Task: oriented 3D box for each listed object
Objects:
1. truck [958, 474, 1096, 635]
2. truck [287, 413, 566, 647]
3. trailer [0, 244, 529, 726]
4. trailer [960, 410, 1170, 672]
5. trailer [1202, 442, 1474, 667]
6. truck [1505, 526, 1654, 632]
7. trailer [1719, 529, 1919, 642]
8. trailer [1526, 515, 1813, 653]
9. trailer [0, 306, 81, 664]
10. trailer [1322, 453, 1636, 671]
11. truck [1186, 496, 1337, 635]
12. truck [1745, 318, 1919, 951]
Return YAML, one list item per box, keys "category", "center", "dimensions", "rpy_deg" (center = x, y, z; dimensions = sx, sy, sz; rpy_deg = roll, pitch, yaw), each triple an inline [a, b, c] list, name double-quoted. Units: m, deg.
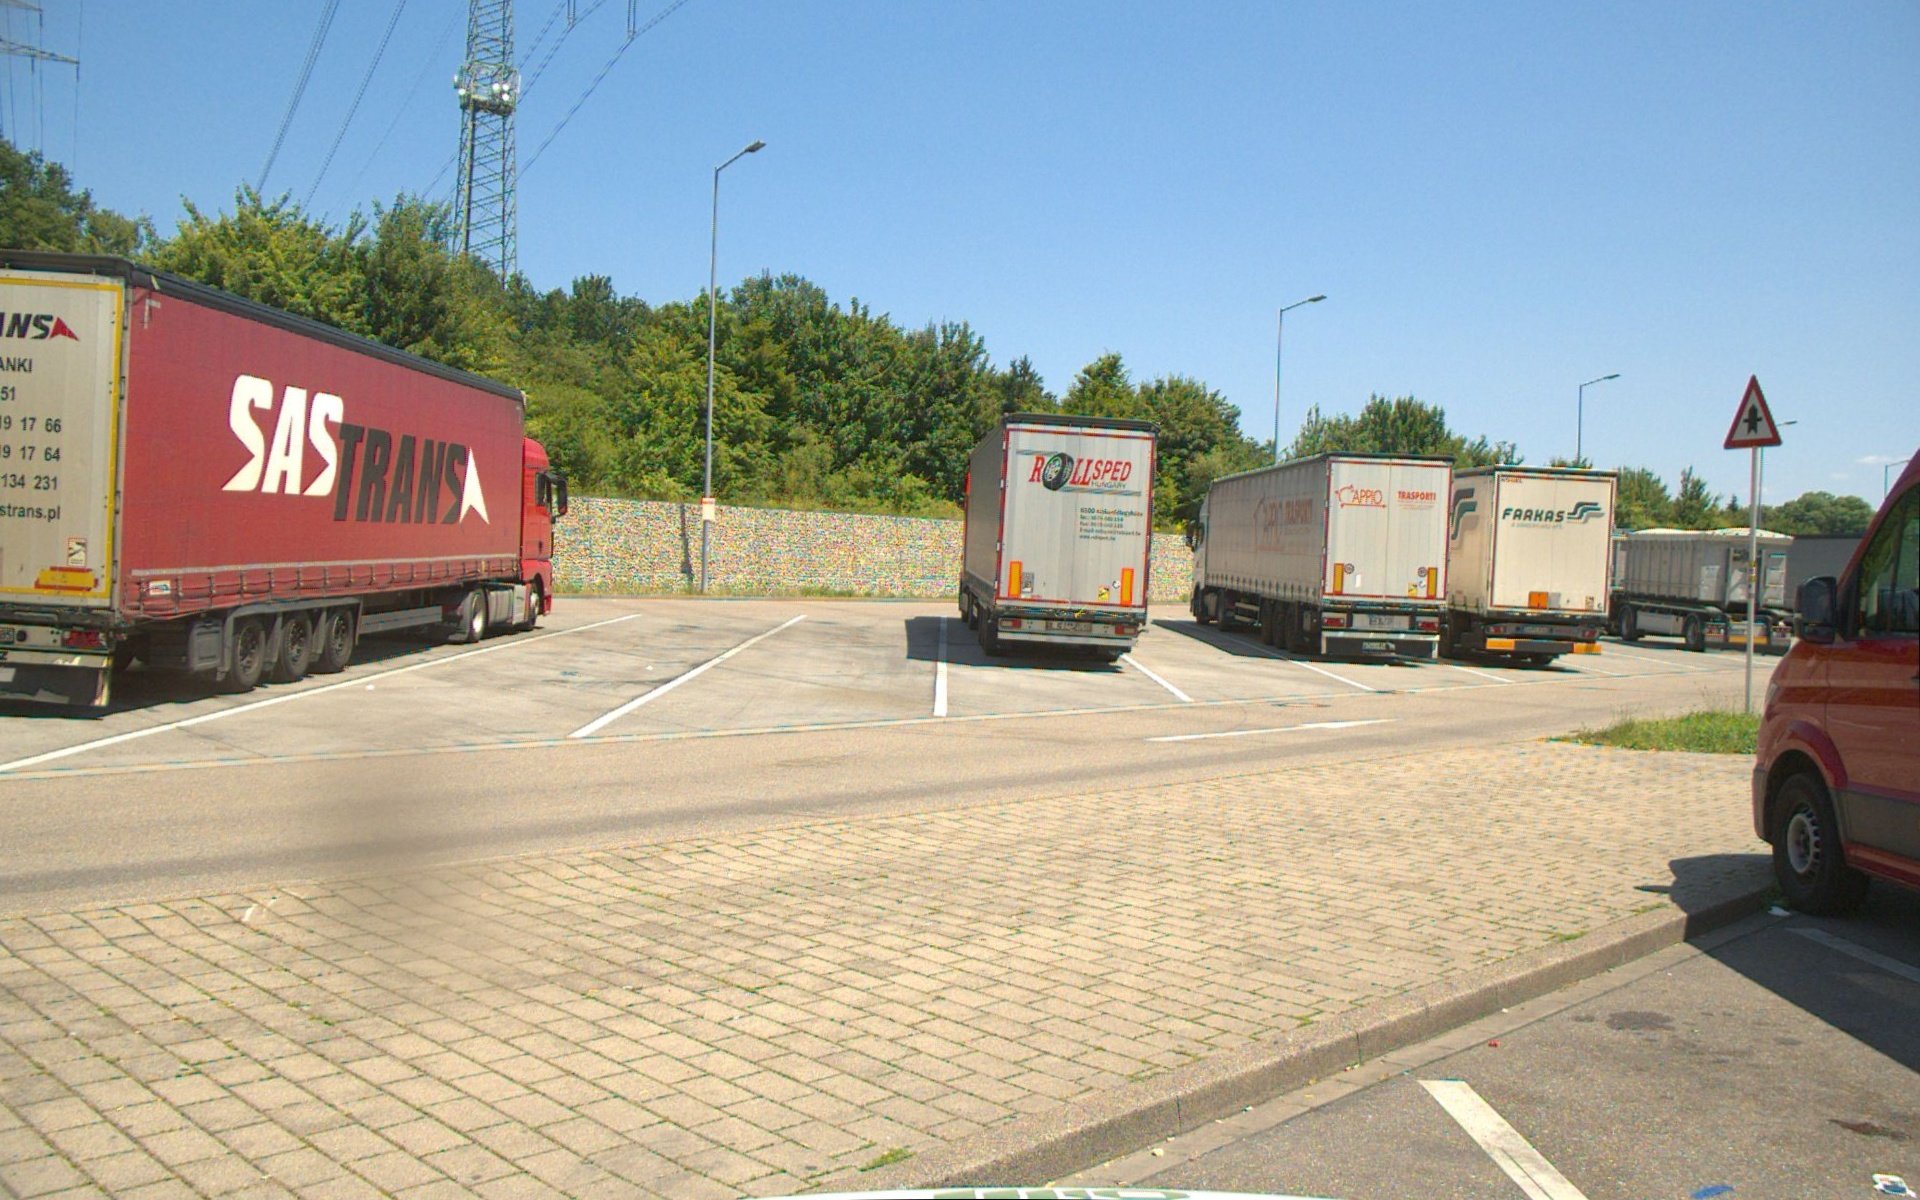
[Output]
- category: "truck"
  center: [1.466, -1.099, 39.353]
  dimensions: [2.808, 3.421, 5.974]
  rpy_deg: [2, 2, -1]
- category: "truck"
  center: [-8.808, -1.166, 28.074]
  dimensions: [2.755, 3.421, 5.974]
  rpy_deg: [2, 2, -1]
- category: "trailer"
  center: [-8.699, -1.273, 21.258]
  dimensions: [2.764, 4.141, 13.763]
  rpy_deg: [2, 2, -1]
- category: "trailer"
  center: [1.667, -1.181, 33.156]
  dimensions: [2.800, 4.040, 13.761]
  rpy_deg: [2, 2, -2]
- category: "trailer"
  center: [8.241, -1.109, 38.510]
  dimensions: [2.800, 4.180, 13.762]
  rpy_deg: [2, 2, -1]
- category: "truck"
  center: [21.728, -0.808, 58.349]
  dimensions: [2.808, 3.421, 5.974]
  rpy_deg: [2, 2, -1]
- category: "trailer"
  center: [34.778, -0.725, 65.454]
  dimensions: [2.800, 3.972, 13.762]
  rpy_deg: [2, 2, -1]
- category: "trailer"
  center: [21.826, -0.692, 52.254]
  dimensions: [2.800, 3.662, 13.762]
  rpy_deg: [2, 2, -1]
- category: "trailer"
  center: [-12.495, -1.260, 15.802]
  dimensions: [2.651, 4.173, 10.389]
  rpy_deg: [2, 2, -1]
- category: "trailer"
  center: [11.760, -0.999, 39.574]
  dimensions: [2.800, 4.180, 13.762]
  rpy_deg: [2, 2, -1]
- category: "truck"
  center: [8.118, -0.993, 45.272]
  dimensions: [2.808, 3.421, 5.974]
  rpy_deg: [2, 2, -1]
- category: "truck"
  center: [4.986, 0.156, 5.526]
  dimensions: [1.969, 2.697, 6.457]
  rpy_deg: [1, 0, 3]
